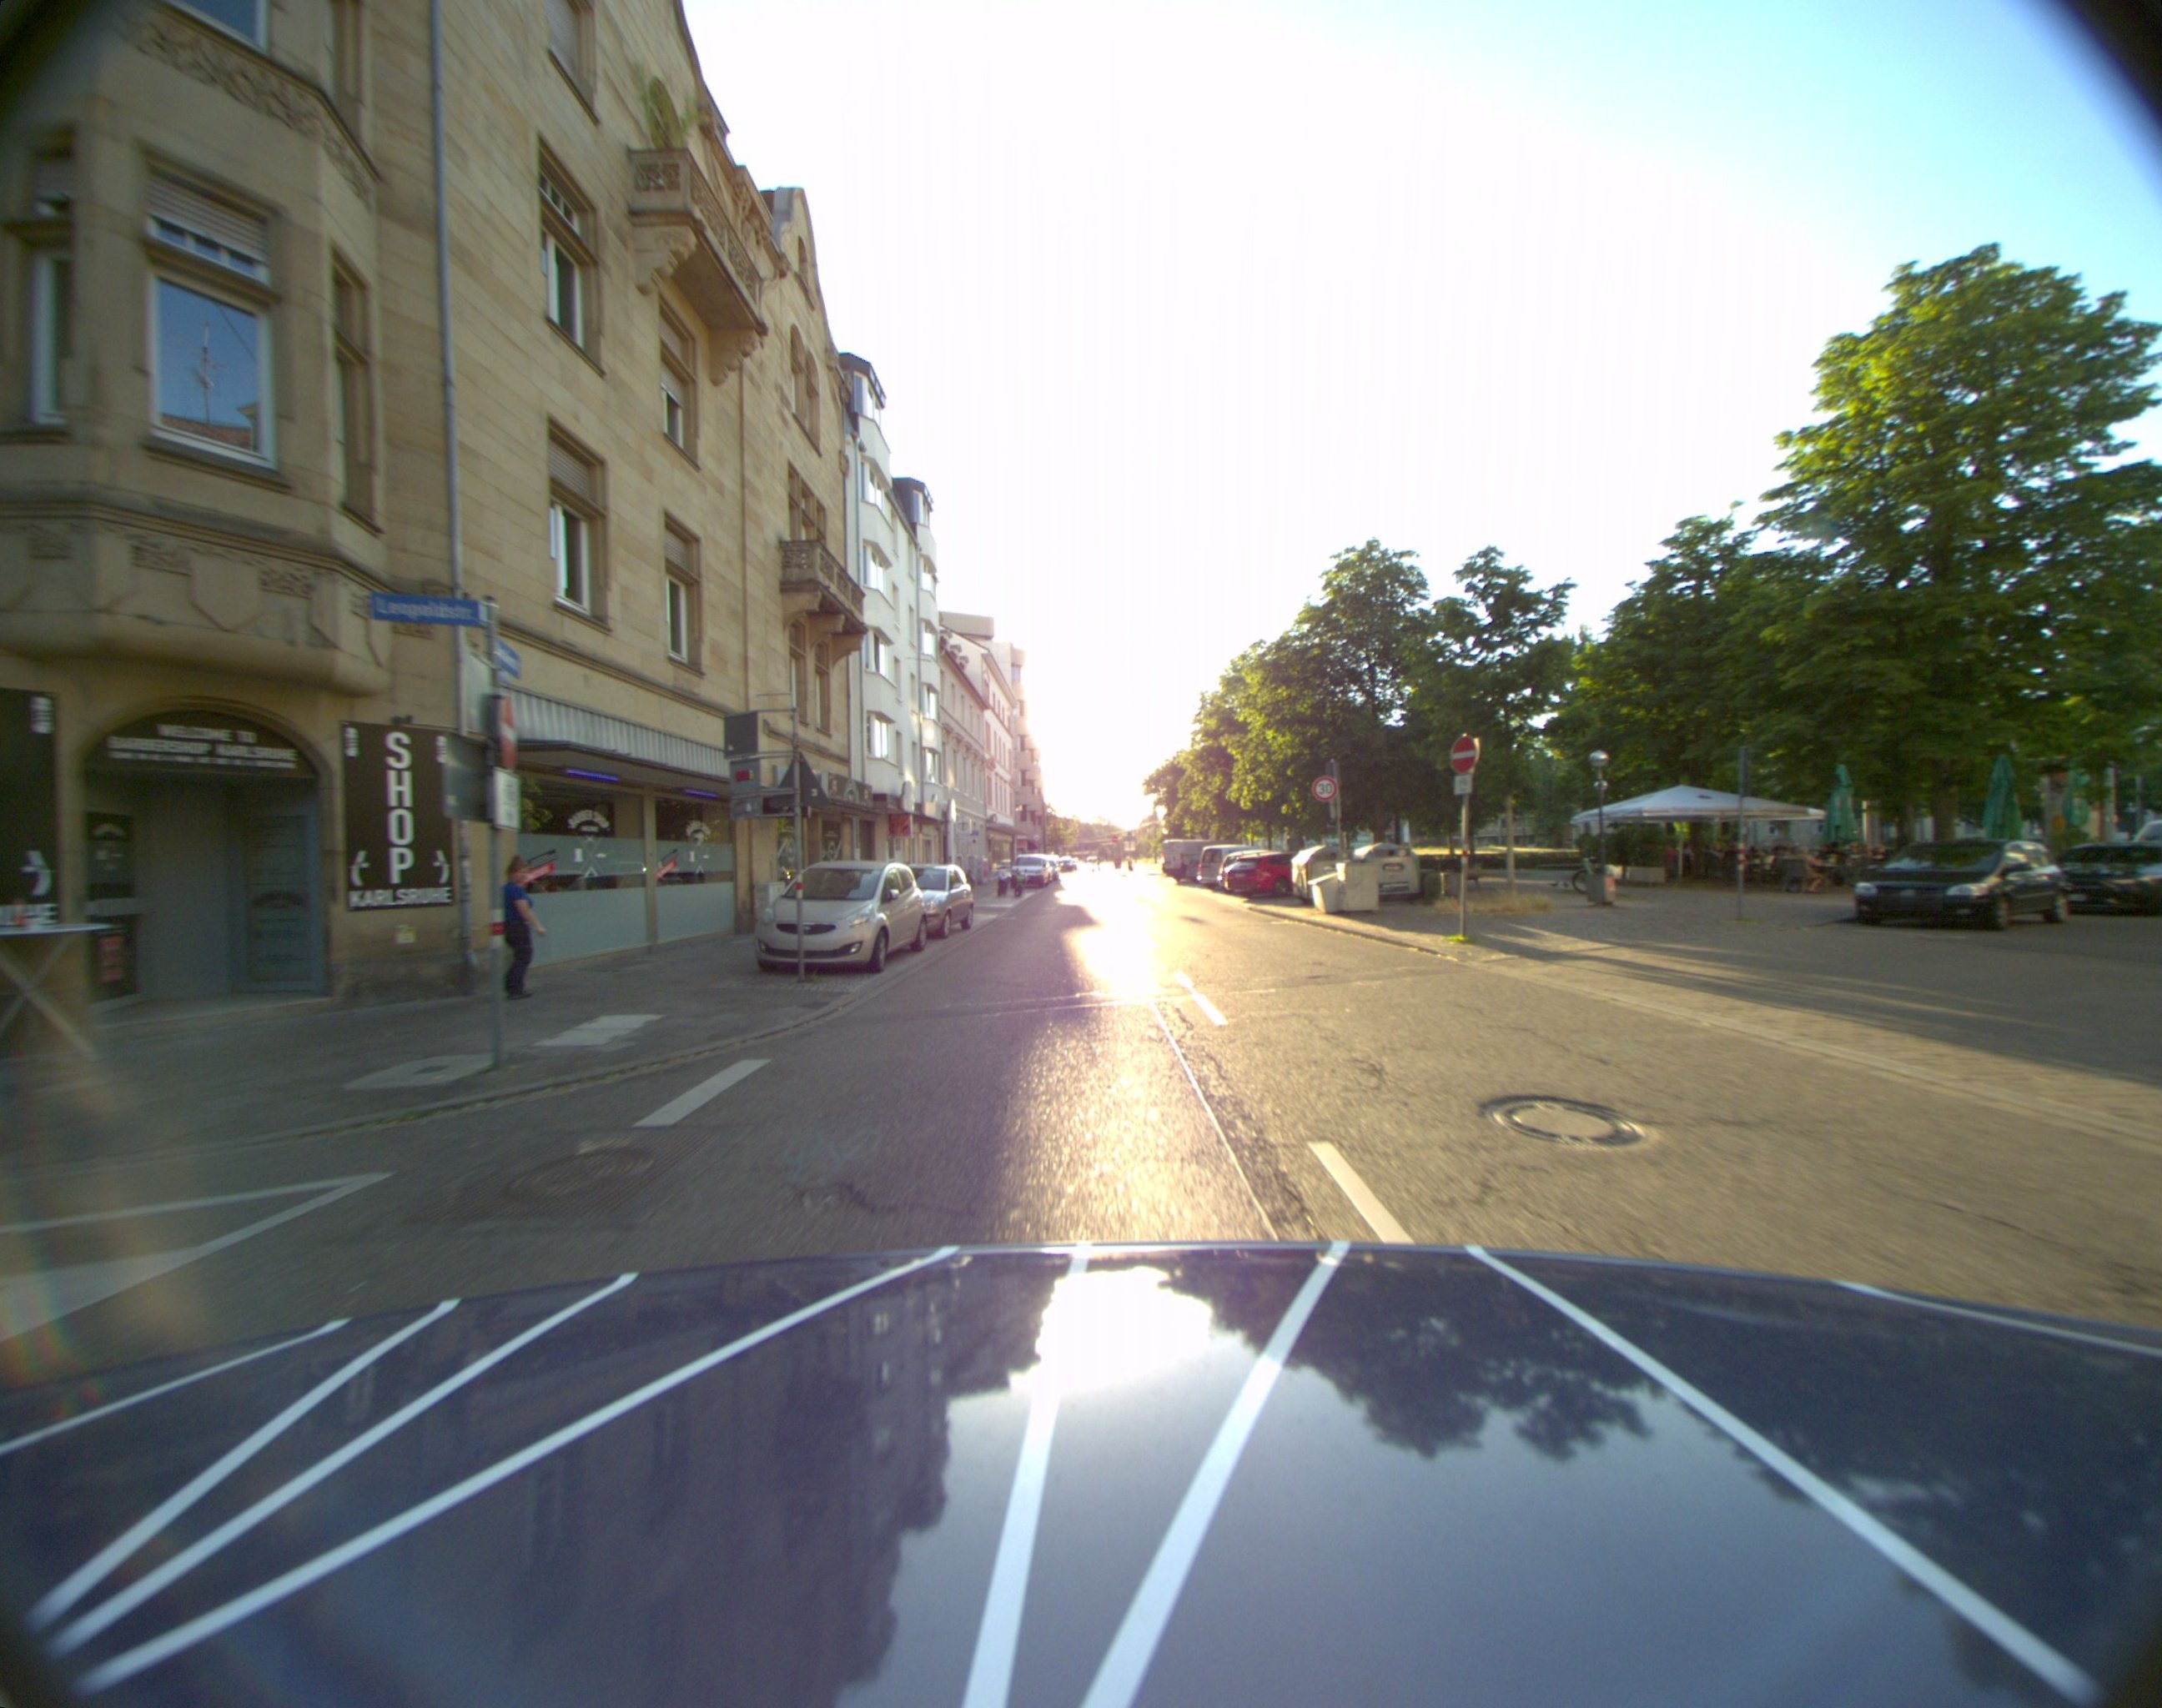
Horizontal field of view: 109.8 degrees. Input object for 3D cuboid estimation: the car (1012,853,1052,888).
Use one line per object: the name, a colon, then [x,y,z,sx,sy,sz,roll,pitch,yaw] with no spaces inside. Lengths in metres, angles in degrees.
car: [-2.687,0.904,42.763,1.714,1.824,4.307,-3,0,2]

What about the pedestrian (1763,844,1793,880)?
pedestrian: [22.861,0.248,24.924,0.534,1.167,0.527,0,0,9]

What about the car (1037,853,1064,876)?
car: [-2.422,0.815,61.002,1.797,1.781,4.092,-2,0,1]

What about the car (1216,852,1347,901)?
car: [6.898,0.721,26.117,4.005,1.477,1.996,-2,0,-28]

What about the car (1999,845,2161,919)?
car: [20.675,0.514,15.273,3.775,1.230,1.827,-2,0,-23]

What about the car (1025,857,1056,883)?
car: [-2.565,1.039,49.085,1.671,1.535,3.883,-3,0,1]

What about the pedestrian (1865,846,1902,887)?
pedestrian: [23.223,0.361,21.989,0.534,1.167,0.527,0,0,9]

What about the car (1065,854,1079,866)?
car: [-1.179,0.757,102.906,1.645,1.519,4.001,-3,0,2]

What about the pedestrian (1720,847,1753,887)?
pedestrian: [19.240,0.386,22.320,0.534,1.148,0.527,0,0,9]

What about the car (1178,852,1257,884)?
car: [7.165,0.704,39.674,4.007,1.459,1.878,-2,0,-41]

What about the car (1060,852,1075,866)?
car: [-1.683,0.646,97.574,1.788,1.794,4.401,-3,0,0]

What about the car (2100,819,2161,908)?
car: [26.620,0.118,17.791,4.836,1.975,2.040,-2,0,-21]

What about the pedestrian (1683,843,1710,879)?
pedestrian: [20.912,0.244,25.828,0.534,1.209,0.527,0,0,9]

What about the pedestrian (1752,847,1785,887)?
pedestrian: [20.608,0.393,22.790,0.534,1.167,0.527,0,0,9]

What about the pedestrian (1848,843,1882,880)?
pedestrian: [24.820,0.248,24.061,0.534,1.167,0.527,0,0,9]

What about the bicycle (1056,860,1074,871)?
bicycle: [-1.608,1.169,76.672,1.794,0.984,0.541,2,-1,-12]

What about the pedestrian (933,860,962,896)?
pedestrian: [-5.666,1.011,32.353,0.957,1.478,0.992,-3,0,1]

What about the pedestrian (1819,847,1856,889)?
pedestrian: [21.624,0.389,21.730,0.534,1.167,0.527,-2,1,9]

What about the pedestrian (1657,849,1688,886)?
pedestrian: [18.755,0.431,24.097,0.580,1.165,0.535,0,1,9]

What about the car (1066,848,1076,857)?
car: [-1.767,-0.322,139.391,1.654,1.525,4.066,-3,0,0]

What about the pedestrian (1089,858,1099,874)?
pedestrian: [1.159,1.049,66.875,0.612,1.356,0.565,-3,0,43]

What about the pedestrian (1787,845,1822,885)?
pedestrian: [21.432,0.328,22.512,0.534,1.167,0.527,0,0,9]

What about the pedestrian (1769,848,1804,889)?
pedestrian: [20.534,0.420,22.124,0.534,1.167,0.527,0,0,9]

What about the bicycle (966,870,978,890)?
bicycle: [-5.834,1.385,40.511,0.456,1.006,1.711,-3,1,-13]

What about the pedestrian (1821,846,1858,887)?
pedestrian: [22.352,0.369,22.398,0.564,1.184,0.522,-1,0,9]

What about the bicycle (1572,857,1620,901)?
bicycle: [13.130,0.615,19.410,0.360,1.062,1.812,-3,0,13]

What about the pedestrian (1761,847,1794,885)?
pedestrian: [21.265,0.364,23.204,0.534,1.167,0.527,0,0,9]

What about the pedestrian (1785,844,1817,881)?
pedestrian: [22.998,0.262,24.265,0.534,1.167,0.527,0,0,9]

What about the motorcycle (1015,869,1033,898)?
motorcycle: [-2.506,1.275,33.568,0.589,1.193,2.210,-2,0,1]

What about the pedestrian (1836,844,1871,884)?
pedestrian: [23.234,0.302,22.861,0.534,1.167,0.527,0,0,9]

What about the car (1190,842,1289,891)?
car: [6.885,0.525,32.941,4.007,1.867,1.866,-2,0,-35]

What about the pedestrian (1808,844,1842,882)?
pedestrian: [23.118,0.295,23.612,0.534,1.167,0.527,0,0,9]

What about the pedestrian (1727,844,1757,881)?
pedestrian: [21.239,0.274,24.431,0.534,1.167,0.527,0,0,9]

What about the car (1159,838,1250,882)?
car: [7.047,0.323,43.282,4.619,2.238,2.199,-3,0,-25]

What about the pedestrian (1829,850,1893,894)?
pedestrian: [20.295,0.467,19.782,0.797,1.125,0.851,0,0,-3]

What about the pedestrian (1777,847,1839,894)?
pedestrian: [18.753,0.417,19.612,0.797,1.192,0.851,0,0,-3]

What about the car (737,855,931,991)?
car: [-3.669,0.931,12.072,1.700,1.759,4.000,-1,0,1]

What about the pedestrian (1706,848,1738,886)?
pedestrian: [19.305,0.395,22.878,0.534,1.147,0.527,0,0,9]

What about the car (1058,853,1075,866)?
car: [-1.680,0.653,89.140,1.794,1.498,3.921,-3,0,2]

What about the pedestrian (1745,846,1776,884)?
pedestrian: [21.324,0.339,23.852,0.534,1.167,0.527,0,0,9]

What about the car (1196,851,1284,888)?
car: [7.590,0.719,36.188,4.007,1.483,1.845,-3,0,-37]

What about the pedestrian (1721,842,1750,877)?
pedestrian: [22.583,0.186,26.228,0.534,1.167,0.527,-2,1,9]

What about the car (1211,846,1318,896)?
car: [7.189,0.623,29.680,4.006,1.686,1.746,-3,0,-35]

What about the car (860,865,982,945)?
car: [-3.432,1.034,17.048,1.684,1.552,4.001,0,0,4]

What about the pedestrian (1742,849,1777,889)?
pedestrian: [19.846,0.420,22.232,0.534,1.149,0.527,1,1,9]

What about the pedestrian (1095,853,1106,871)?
pedestrian: [1.740,0.675,67.603,0.693,1.549,0.701,-3,-1,40]

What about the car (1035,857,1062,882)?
car: [-2.309,1.082,55.387,1.661,1.655,4.108,-3,0,1]

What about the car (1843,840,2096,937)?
car: [15.170,0.533,12.999,3.529,1.373,1.703,-2,0,-21]

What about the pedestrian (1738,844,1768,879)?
pedestrian: [22.626,0.259,25.589,0.534,1.167,0.527,-2,1,9]

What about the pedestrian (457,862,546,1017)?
pedestrian: [-6.427,0.929,8.439,0.586,1.656,0.423,-3,0,2]

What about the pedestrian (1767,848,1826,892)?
pedestrian: [19.319,0.432,20.535,0.797,1.151,0.851,0,0,-3]

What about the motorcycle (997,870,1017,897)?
motorcycle: [-3.310,1.319,34.152,0.589,1.116,2.210,-2,0,1]
